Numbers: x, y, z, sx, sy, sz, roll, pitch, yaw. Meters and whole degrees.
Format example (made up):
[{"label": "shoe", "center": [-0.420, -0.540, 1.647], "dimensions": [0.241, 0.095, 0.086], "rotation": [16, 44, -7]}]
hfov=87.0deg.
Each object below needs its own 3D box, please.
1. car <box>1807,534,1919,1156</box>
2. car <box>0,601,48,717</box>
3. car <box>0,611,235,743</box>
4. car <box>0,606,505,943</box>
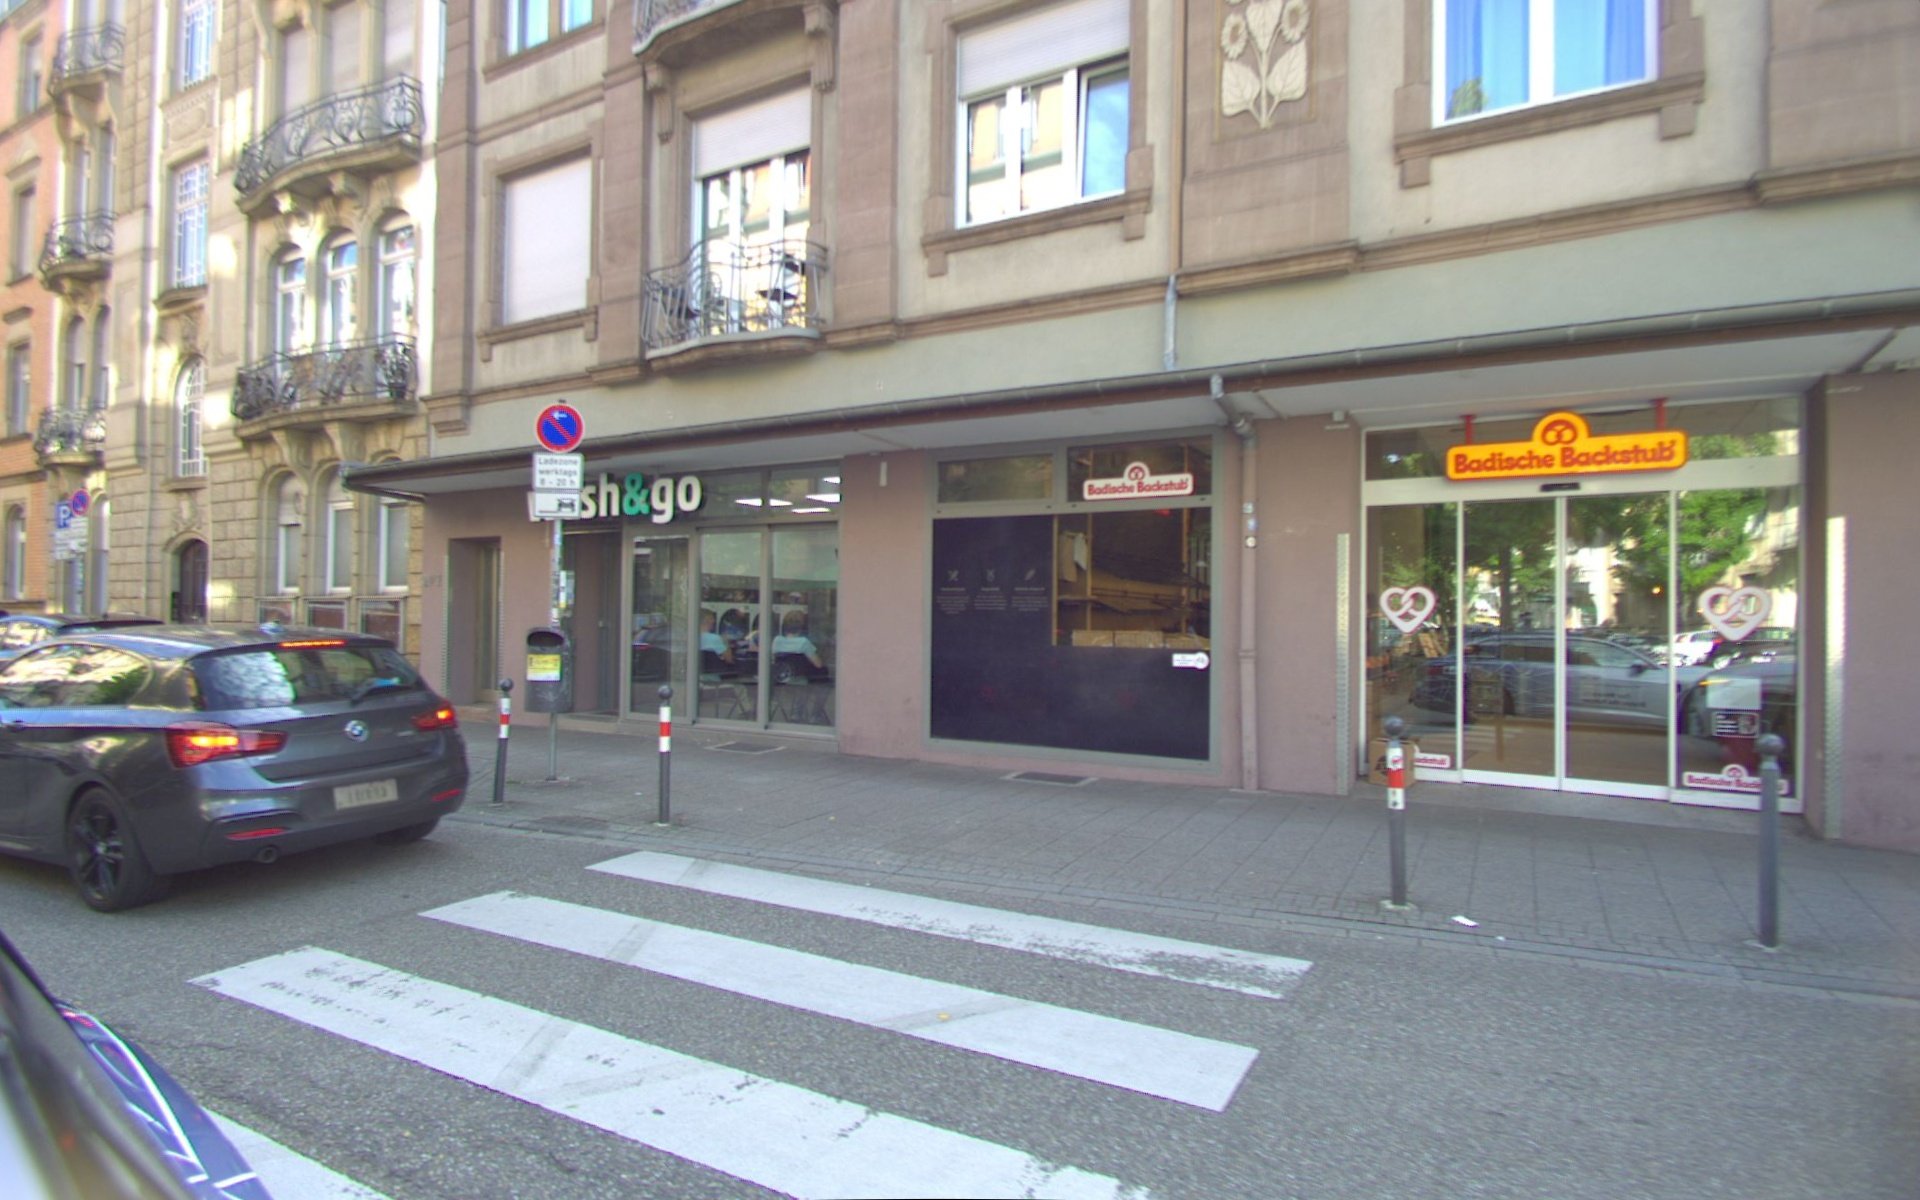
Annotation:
[{"label": "car", "center": [4.889, 0.625, 1.738], "dimensions": [4.802, 1.735, 1.940], "rotation": [-1, -4, 14]}, {"label": "car", "center": [-15.781, 0.814, 15.132], "dimensions": [4.828, 1.641, 1.778], "rotation": [0, -1, 30]}, {"label": "car", "center": [-11.457, 0.875, 12.916], "dimensions": [4.226, 1.431, 1.980], "rotation": [0, -2, 29]}, {"label": "car", "center": [-4.951, 0.775, 6.194], "dimensions": [4.191, 1.447, 1.739], "rotation": [0, 0, 27]}]
